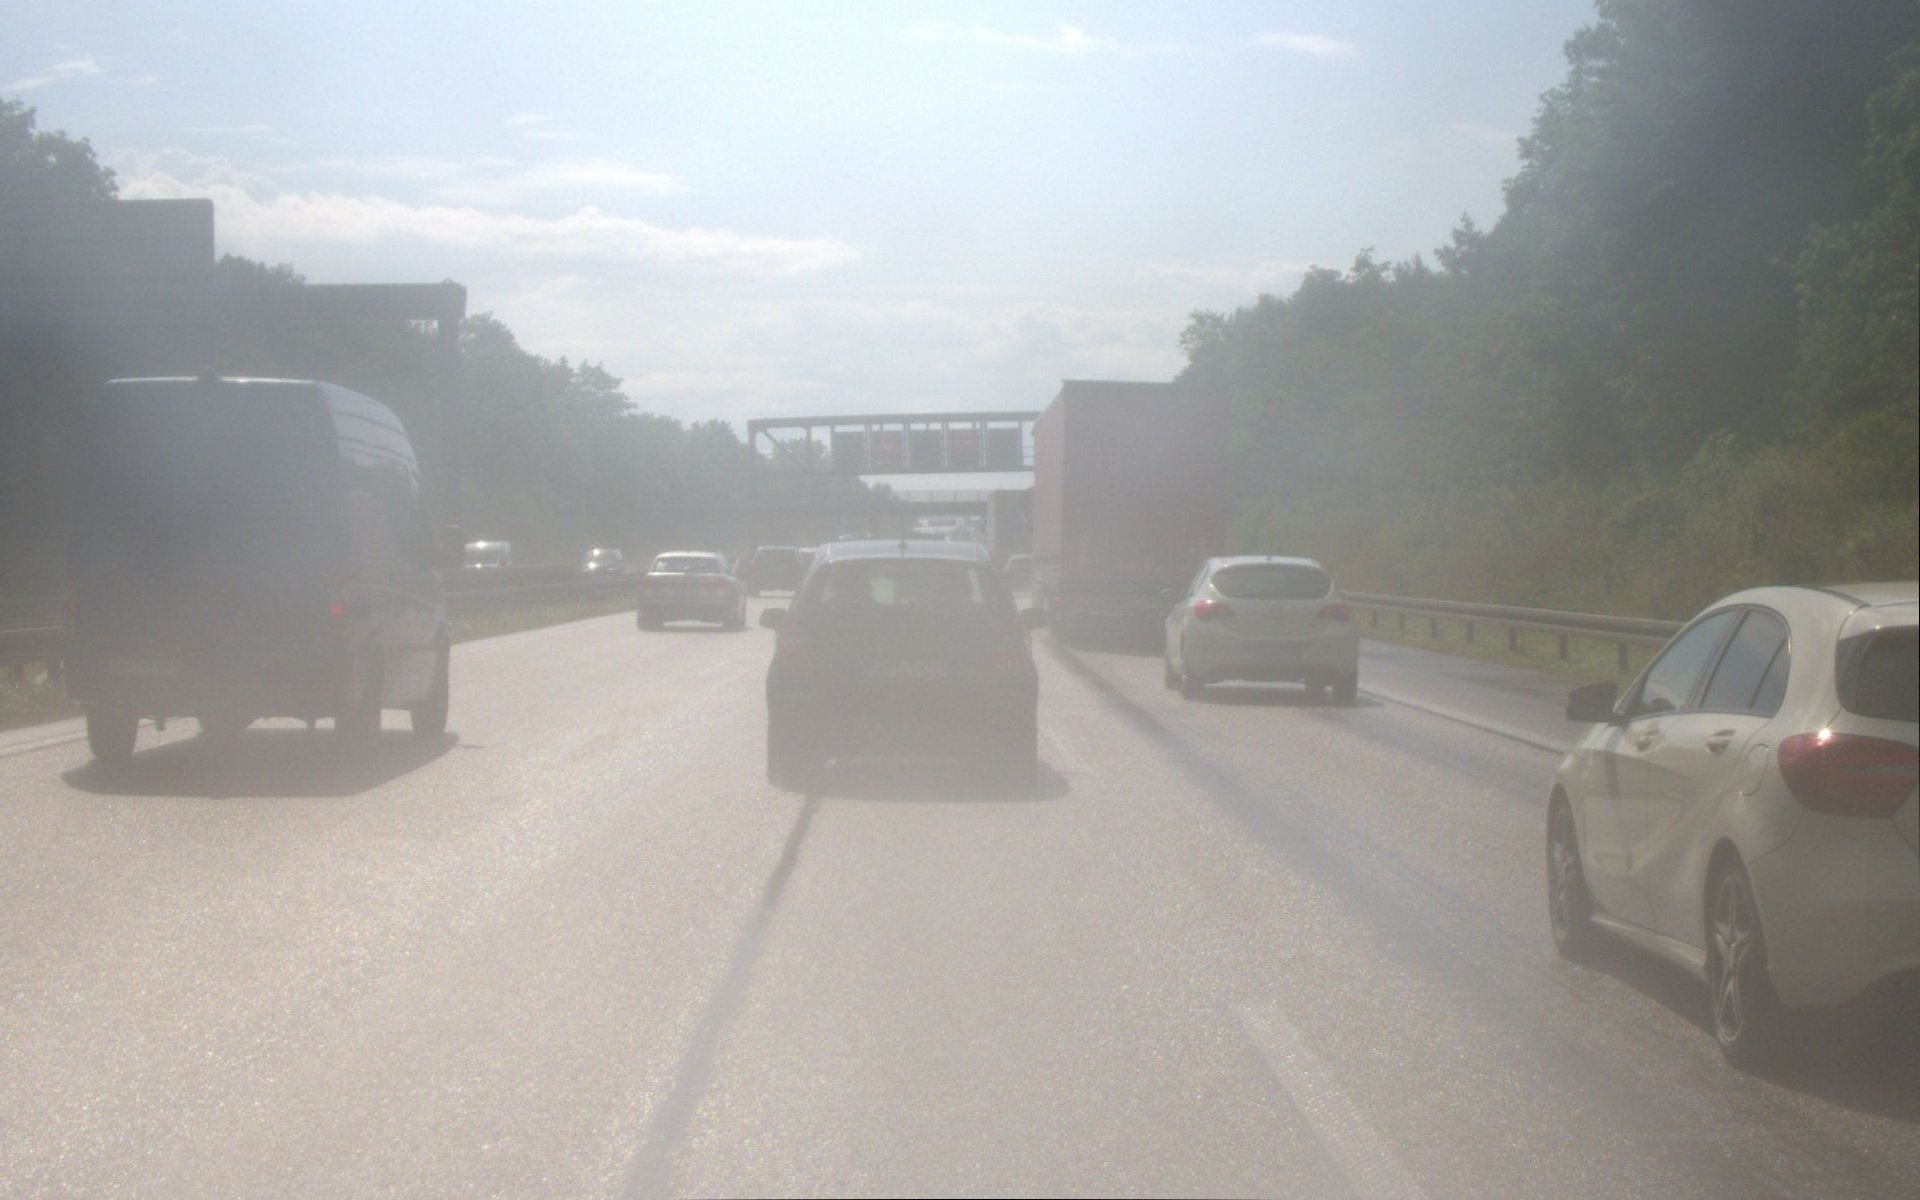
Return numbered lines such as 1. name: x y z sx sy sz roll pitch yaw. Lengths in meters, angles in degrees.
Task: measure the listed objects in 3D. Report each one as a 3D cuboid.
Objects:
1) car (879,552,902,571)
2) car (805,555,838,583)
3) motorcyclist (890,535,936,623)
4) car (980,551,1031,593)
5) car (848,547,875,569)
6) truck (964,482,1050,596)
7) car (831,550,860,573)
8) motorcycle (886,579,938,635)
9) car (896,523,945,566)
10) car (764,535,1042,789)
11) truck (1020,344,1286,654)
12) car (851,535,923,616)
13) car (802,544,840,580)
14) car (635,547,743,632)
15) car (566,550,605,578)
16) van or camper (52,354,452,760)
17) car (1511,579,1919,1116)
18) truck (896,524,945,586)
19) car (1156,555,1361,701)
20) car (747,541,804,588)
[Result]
1. car: -4.863 -2.712 241.256 1.549 1.262 3.485 1 1 -2
2. car: -6.518 -1.473 161.815 1.549 1.262 3.485 1 1 -2
3. motorcyclist: -0.884 -0.398 64.467 0.801 1.627 1.013 1 1 -2
4. car: 1.521 -0.938 115.517 1.552 1.378 3.210 1 1 -2
5. car: -5.956 -2.530 207.466 1.549 1.262 3.485 1 1 -2
6. truck: 1.875 -2.490 142.232 3.256 4.464 12.421 1 1 0
7. car: -6.460 -2.158 193.790 1.549 1.262 3.485 1 1 -2
8. motorcycle: -0.909 0.119 64.517 0.890 0.997 2.896 1 1 -2
9. car: -1.351 -1.870 116.228 1.552 1.378 3.210 1 1 -2
10. car: -0.416 0.367 23.242 1.717 1.562 3.485 1 1 -2
11. truck: 3.109 -1.653 61.169 3.650 4.704 16.779 1 1 0
12. car: -1.648 -0.547 76.561 1.531 1.740 3.485 1 1 -2
13. car: -5.506 -1.524 136.725 1.460 1.389 3.312 1 1 -2
14. car: -5.092 -0.216 64.846 1.854 1.546 3.485 1 1 -2
15. car: -19.197 -1.856 176.425 1.570 1.381 3.792 1 1 0
16. van or camper: -5.085 -0.317 25.460 1.993 2.659 5.385 1 1 -2
17. car: 3.025 0.667 11.397 1.692 1.420 4.220 1 1 0
18. truck: -1.905 -2.162 164.217 2.192 2.865 4.850 1 1 -2
19. car: 3.098 0.258 36.321 1.680 1.437 3.905 1 1 -2
20. car: -5.935 -1.153 110.687 1.751 1.452 3.390 1 1 -2
